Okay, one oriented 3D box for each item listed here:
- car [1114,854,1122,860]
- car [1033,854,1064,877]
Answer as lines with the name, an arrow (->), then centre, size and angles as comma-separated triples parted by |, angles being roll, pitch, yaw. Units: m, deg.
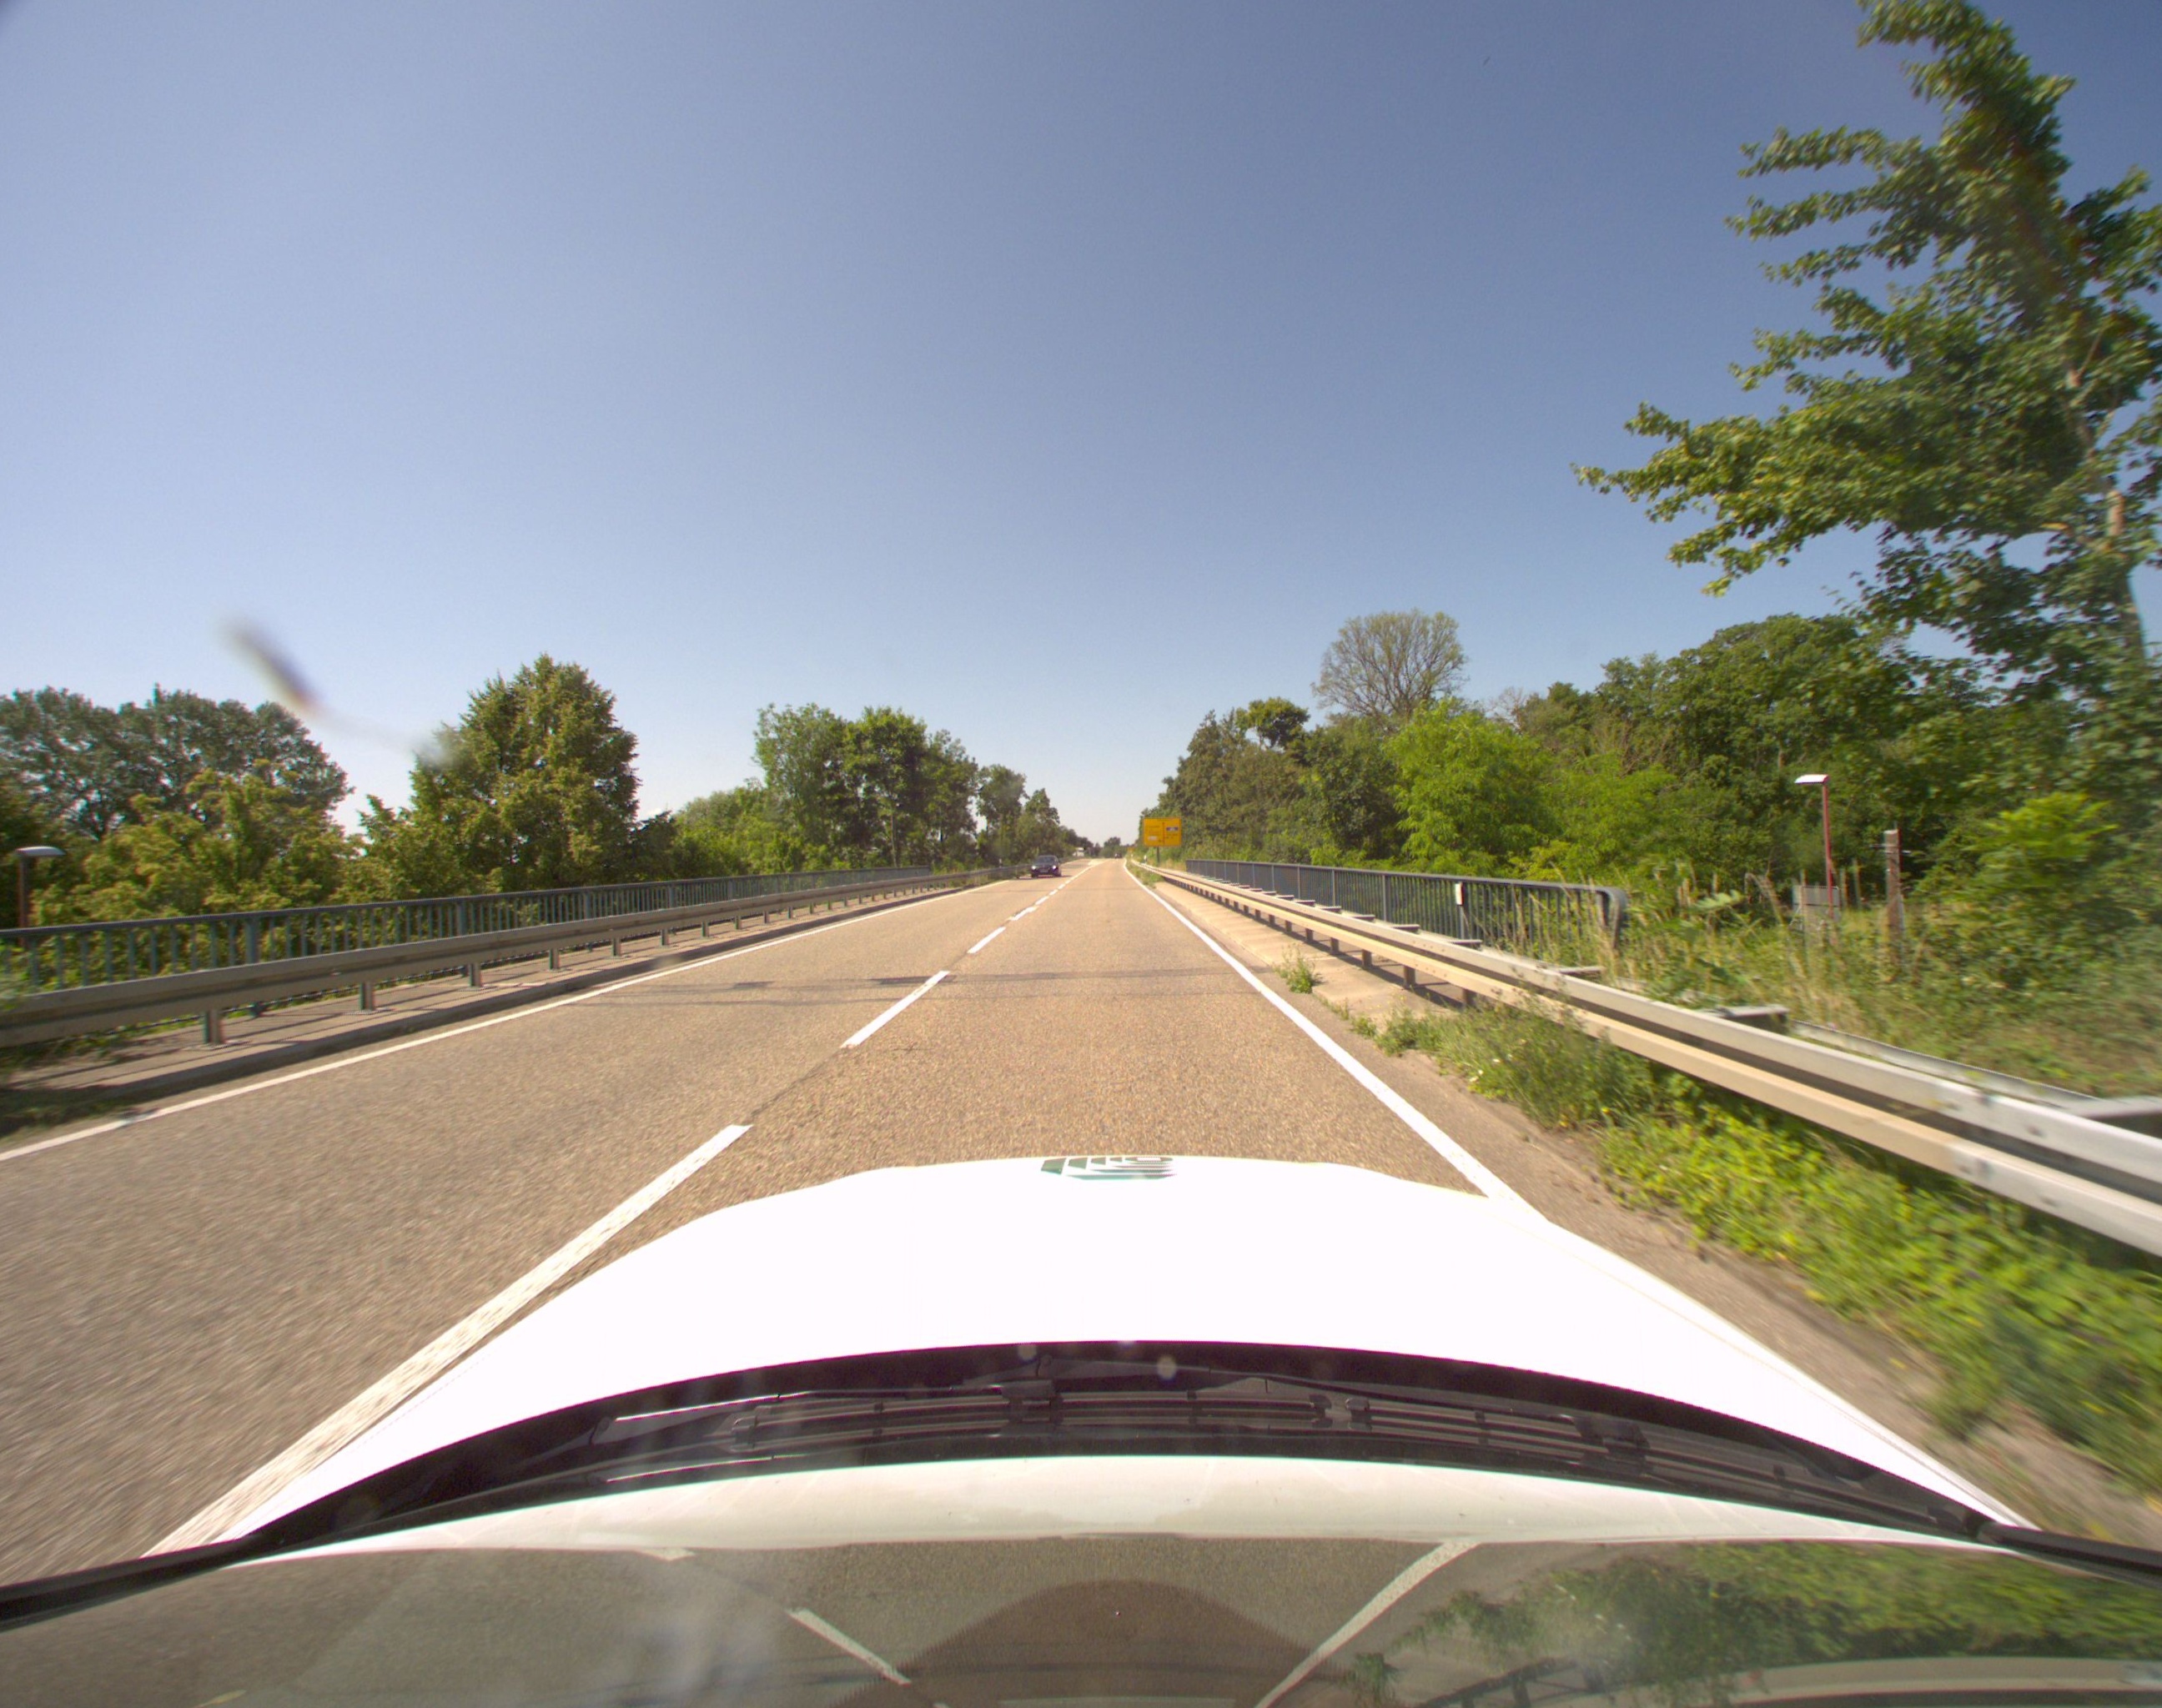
car -> 9.201, 0.760, 202.018 | 1.734, 1.470, 3.695 | -1, 0, 3
car -> -2.184, 0.775, 55.811 | 1.739, 1.425, 4.679 | -1, 0, 2
